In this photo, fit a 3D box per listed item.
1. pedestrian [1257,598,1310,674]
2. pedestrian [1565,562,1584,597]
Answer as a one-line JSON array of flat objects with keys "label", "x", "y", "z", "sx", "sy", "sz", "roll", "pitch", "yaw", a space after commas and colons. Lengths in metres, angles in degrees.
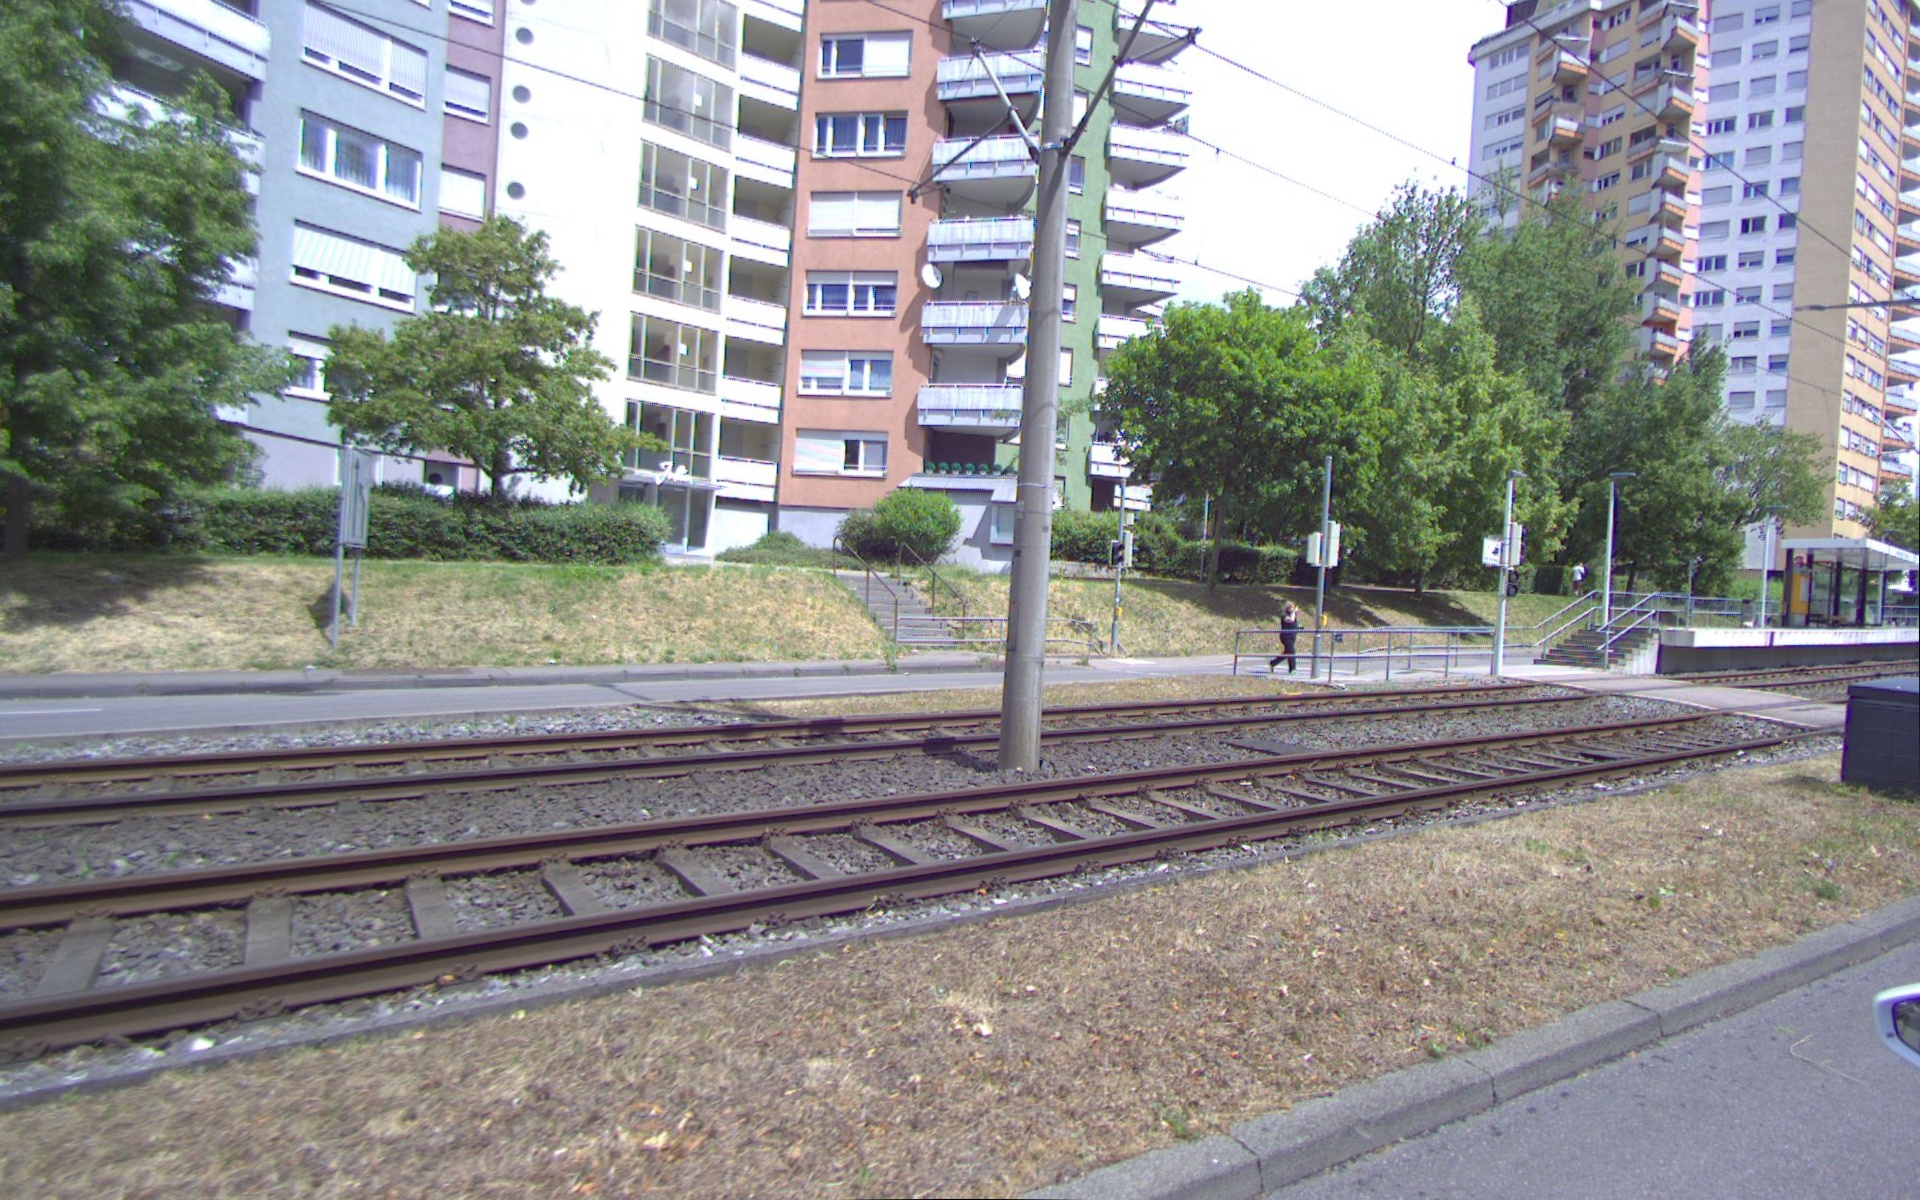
[{"label": "pedestrian", "x": 6.931, "y": 0.773, "z": 21.534, "sx": 0.684, "sy": 1.584, "sz": 0.816, "roll": -1, "pitch": -1, "yaw": -35}, {"label": "pedestrian", "x": 30.615, "y": -1.033, "z": 50.055, "sx": 0.500, "sy": 1.735, "sz": 0.645, "roll": 1, "pitch": 0, "yaw": -36}]
